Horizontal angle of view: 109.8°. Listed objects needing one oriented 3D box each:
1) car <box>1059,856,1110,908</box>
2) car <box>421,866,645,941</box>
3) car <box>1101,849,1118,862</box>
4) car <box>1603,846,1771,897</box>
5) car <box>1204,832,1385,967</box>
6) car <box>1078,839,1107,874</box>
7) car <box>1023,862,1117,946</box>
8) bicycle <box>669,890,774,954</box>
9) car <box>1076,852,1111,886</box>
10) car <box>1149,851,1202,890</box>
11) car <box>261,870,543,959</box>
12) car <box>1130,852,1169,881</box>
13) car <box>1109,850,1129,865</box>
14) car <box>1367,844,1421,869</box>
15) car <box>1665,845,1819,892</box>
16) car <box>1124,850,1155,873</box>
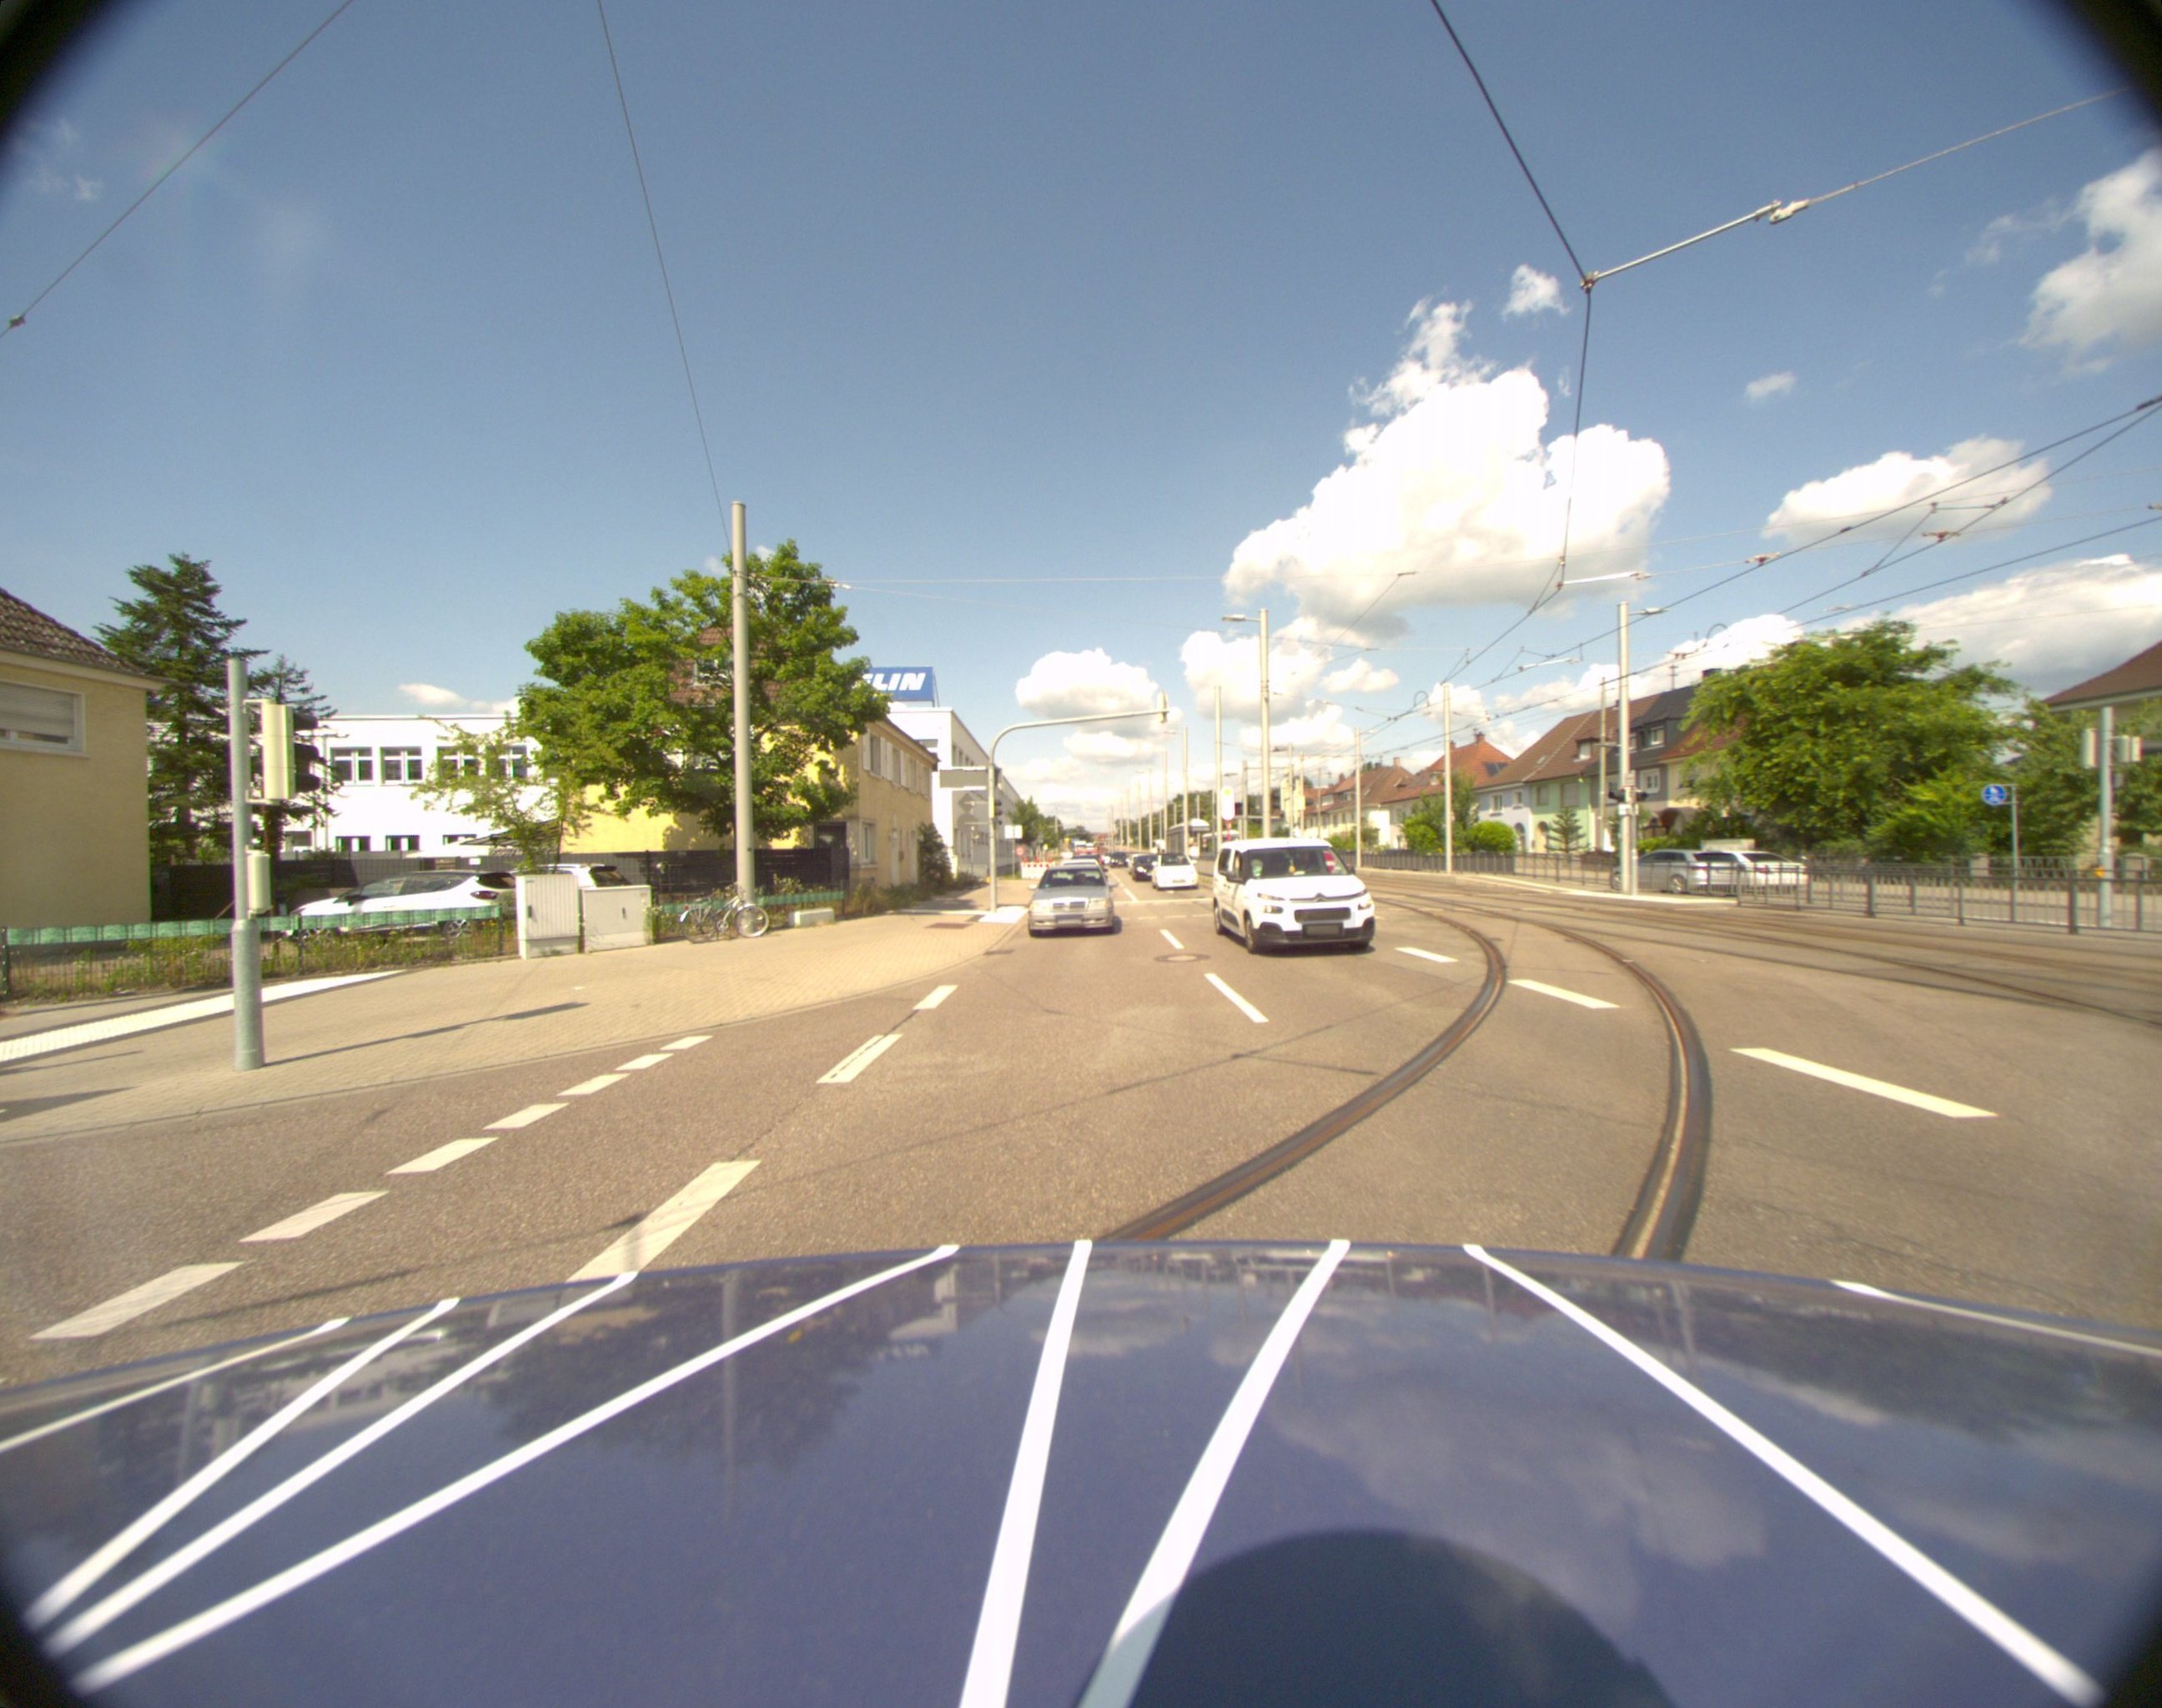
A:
[{"bbox_3d":[0.109,0.958,27.837,1.664,1.564,3.999,-3,1,-1],"label":"car"},{"bbox_3d":[-13.447,1.168,18.874,4.117,1.587,1.799,-2,0,-5],"label":"car"},{"bbox_3d":[3.315,0.100,89.204,1.698,1.350,4.497,-3,1,-1],"label":"car"},{"bbox_3d":[18.889,0.482,23.976,1.998,1.344,4.177,-3,1,1],"label":"car"},{"bbox_3d":[3.331,0.618,12.766,1.799,1.804,4.329,-3,0,1],"label":"car"},{"bbox_3d":[0.748,0.113,52.006,1.787,2.135,5.168,-3,1,-1],"label":"car"},{"bbox_3d":[-0.113,0.986,16.760,1.725,1.390,4.462,-3,1,2],"label":"car"},{"bbox_3d":[-6.943,1.286,14.753,0.462,1.013,1.759,-1,2,41],"label":"bicycle"},{"bbox_3d":[0.593,0.732,39.938,1.664,1.530,3.999,-3,1,-1],"label":"car"},{"bbox_3d":[3.981,0.669,32.589,1.680,1.495,3.392,-3,1,-2],"label":"car"},{"bbox_3d":[-14.093,1.212,16.000,4.117,1.587,1.799,-2,0,-5],"label":"car"},{"bbox_3d":[3.819,0.653,42.859,1.680,1.414,3.557,-3,1,-2],"label":"car"},{"bbox_3d":[3.811,0.347,76.236,1.698,1.350,4.497,-3,1,-1],"label":"car"},{"bbox_3d":[19.380,0.136,47.291,1.688,1.344,4.177,-3,1,2],"label":"car"},{"bbox_3d":[22.519,0.432,26.140,1.688,1.344,4.345,-3,1,4],"label":"car"},{"bbox_3d":[4.070,0.488,53.469,1.698,1.350,4.497,-3,1,-1],"label":"car"}]
